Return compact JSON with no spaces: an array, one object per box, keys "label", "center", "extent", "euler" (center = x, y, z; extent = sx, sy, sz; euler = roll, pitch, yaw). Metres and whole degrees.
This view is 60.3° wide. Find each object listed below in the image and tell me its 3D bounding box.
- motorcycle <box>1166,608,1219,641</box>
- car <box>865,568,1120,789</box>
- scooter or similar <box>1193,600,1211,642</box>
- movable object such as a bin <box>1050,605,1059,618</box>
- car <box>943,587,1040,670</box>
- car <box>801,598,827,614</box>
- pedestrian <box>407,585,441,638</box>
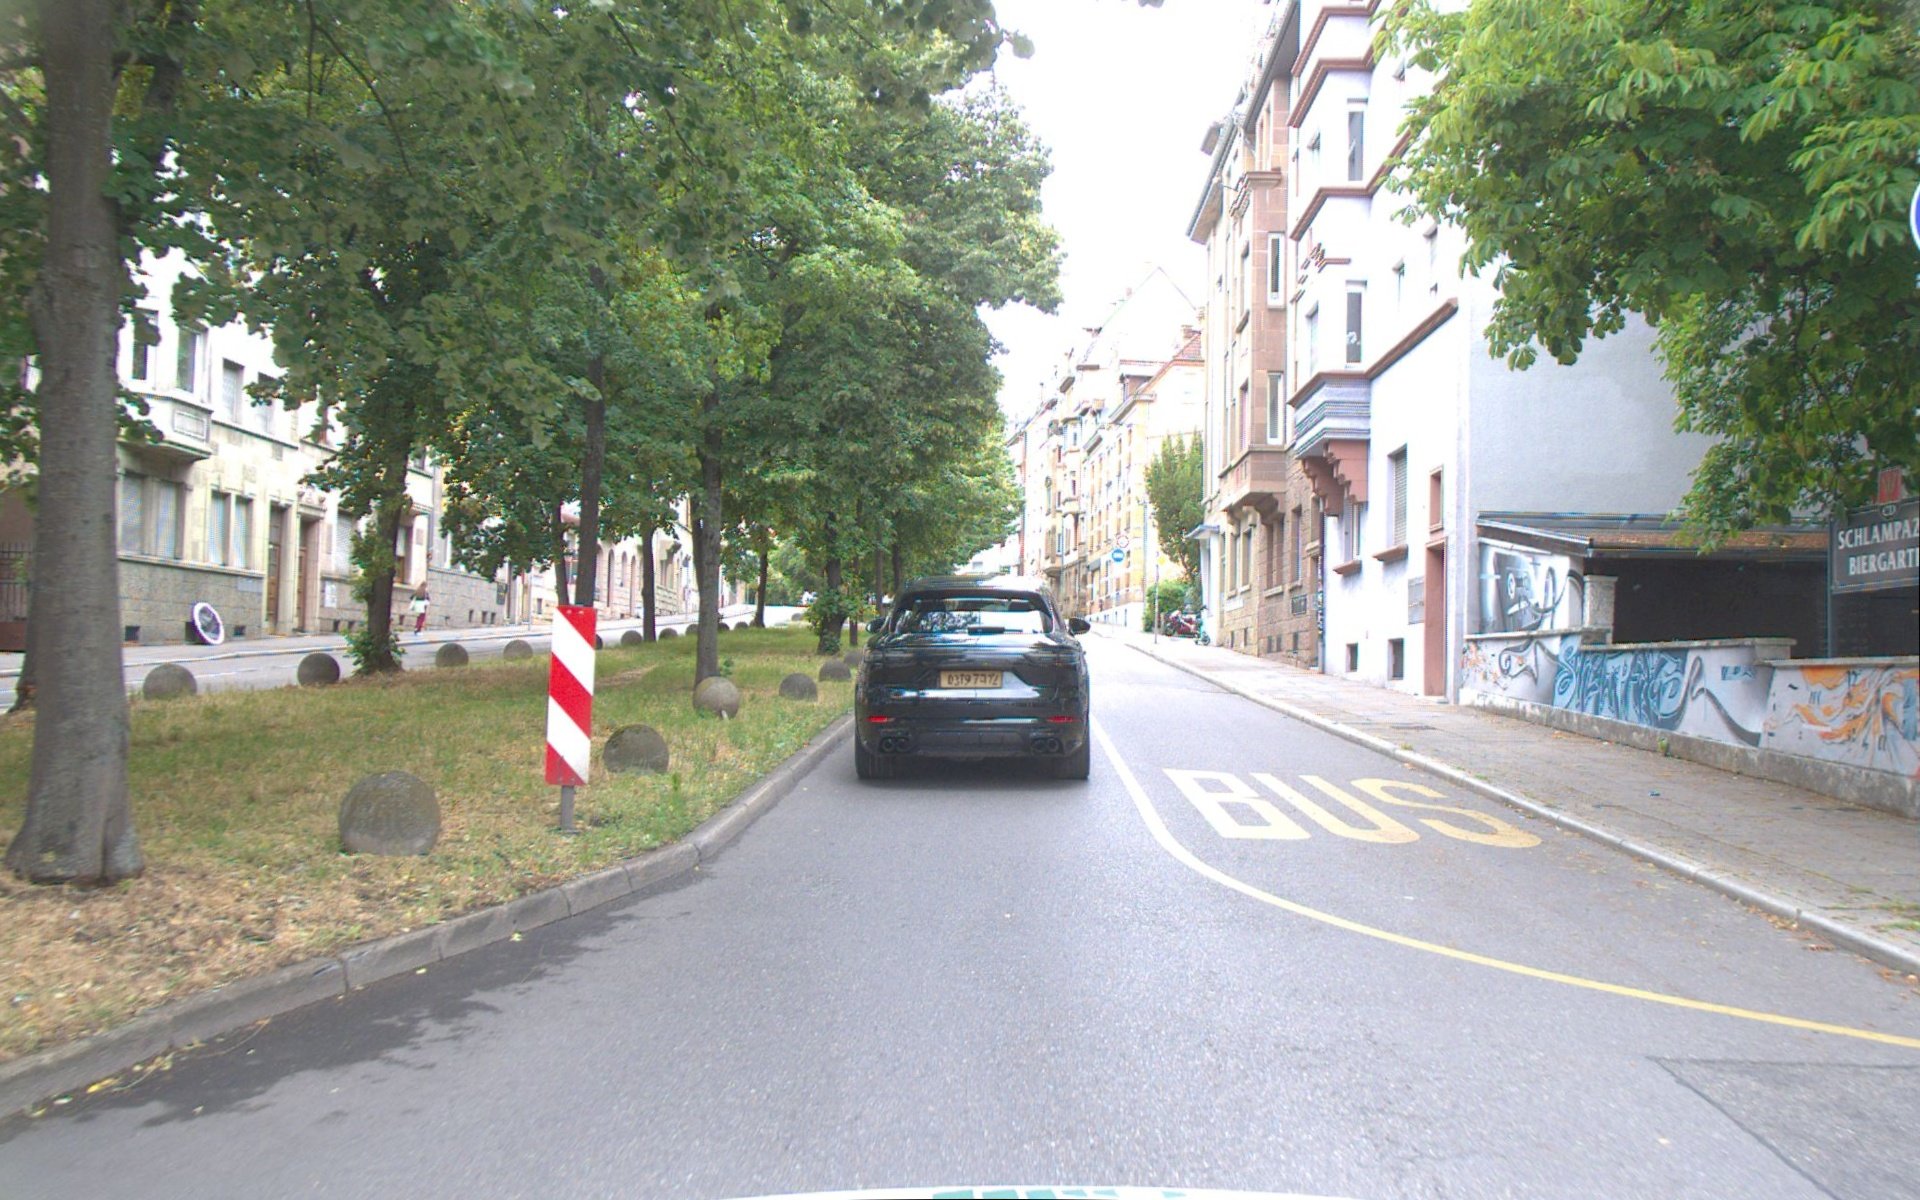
[{"label":"motorcycle","center":[9.856,1.017,70.234],"extent":[2.014,1.290,1.009],"euler":[3,0,-3]},{"label":"car","center":[0.241,0.607,14.709],"extent":[1.953,1.695,3.999],"euler":[0,0,0]},{"label":"scooter or similar","center":[7.609,0.651,51.931],"extent":[0.401,1.231,1.146],"euler":[-1,2,1]},{"label":"movable object such as a bin","center":[6.942,0.856,121.265],"extent":[0.582,0.920,0.562],"euler":[2,-1,-4]},{"label":"car","center":[0.671,0.575,32.851],"extent":[1.726,1.491,3.593],"euler":[2,-1,4]},{"label":"car","center":[-13.148,0.552,149.181],"extent":[1.673,1.406,4.670],"euler":[0,1,2]},{"label":"pedestrian","center":[-15.200,0.326,46.903],"extent":[0.684,1.486,0.704],"euler":[2,0,2]}]
